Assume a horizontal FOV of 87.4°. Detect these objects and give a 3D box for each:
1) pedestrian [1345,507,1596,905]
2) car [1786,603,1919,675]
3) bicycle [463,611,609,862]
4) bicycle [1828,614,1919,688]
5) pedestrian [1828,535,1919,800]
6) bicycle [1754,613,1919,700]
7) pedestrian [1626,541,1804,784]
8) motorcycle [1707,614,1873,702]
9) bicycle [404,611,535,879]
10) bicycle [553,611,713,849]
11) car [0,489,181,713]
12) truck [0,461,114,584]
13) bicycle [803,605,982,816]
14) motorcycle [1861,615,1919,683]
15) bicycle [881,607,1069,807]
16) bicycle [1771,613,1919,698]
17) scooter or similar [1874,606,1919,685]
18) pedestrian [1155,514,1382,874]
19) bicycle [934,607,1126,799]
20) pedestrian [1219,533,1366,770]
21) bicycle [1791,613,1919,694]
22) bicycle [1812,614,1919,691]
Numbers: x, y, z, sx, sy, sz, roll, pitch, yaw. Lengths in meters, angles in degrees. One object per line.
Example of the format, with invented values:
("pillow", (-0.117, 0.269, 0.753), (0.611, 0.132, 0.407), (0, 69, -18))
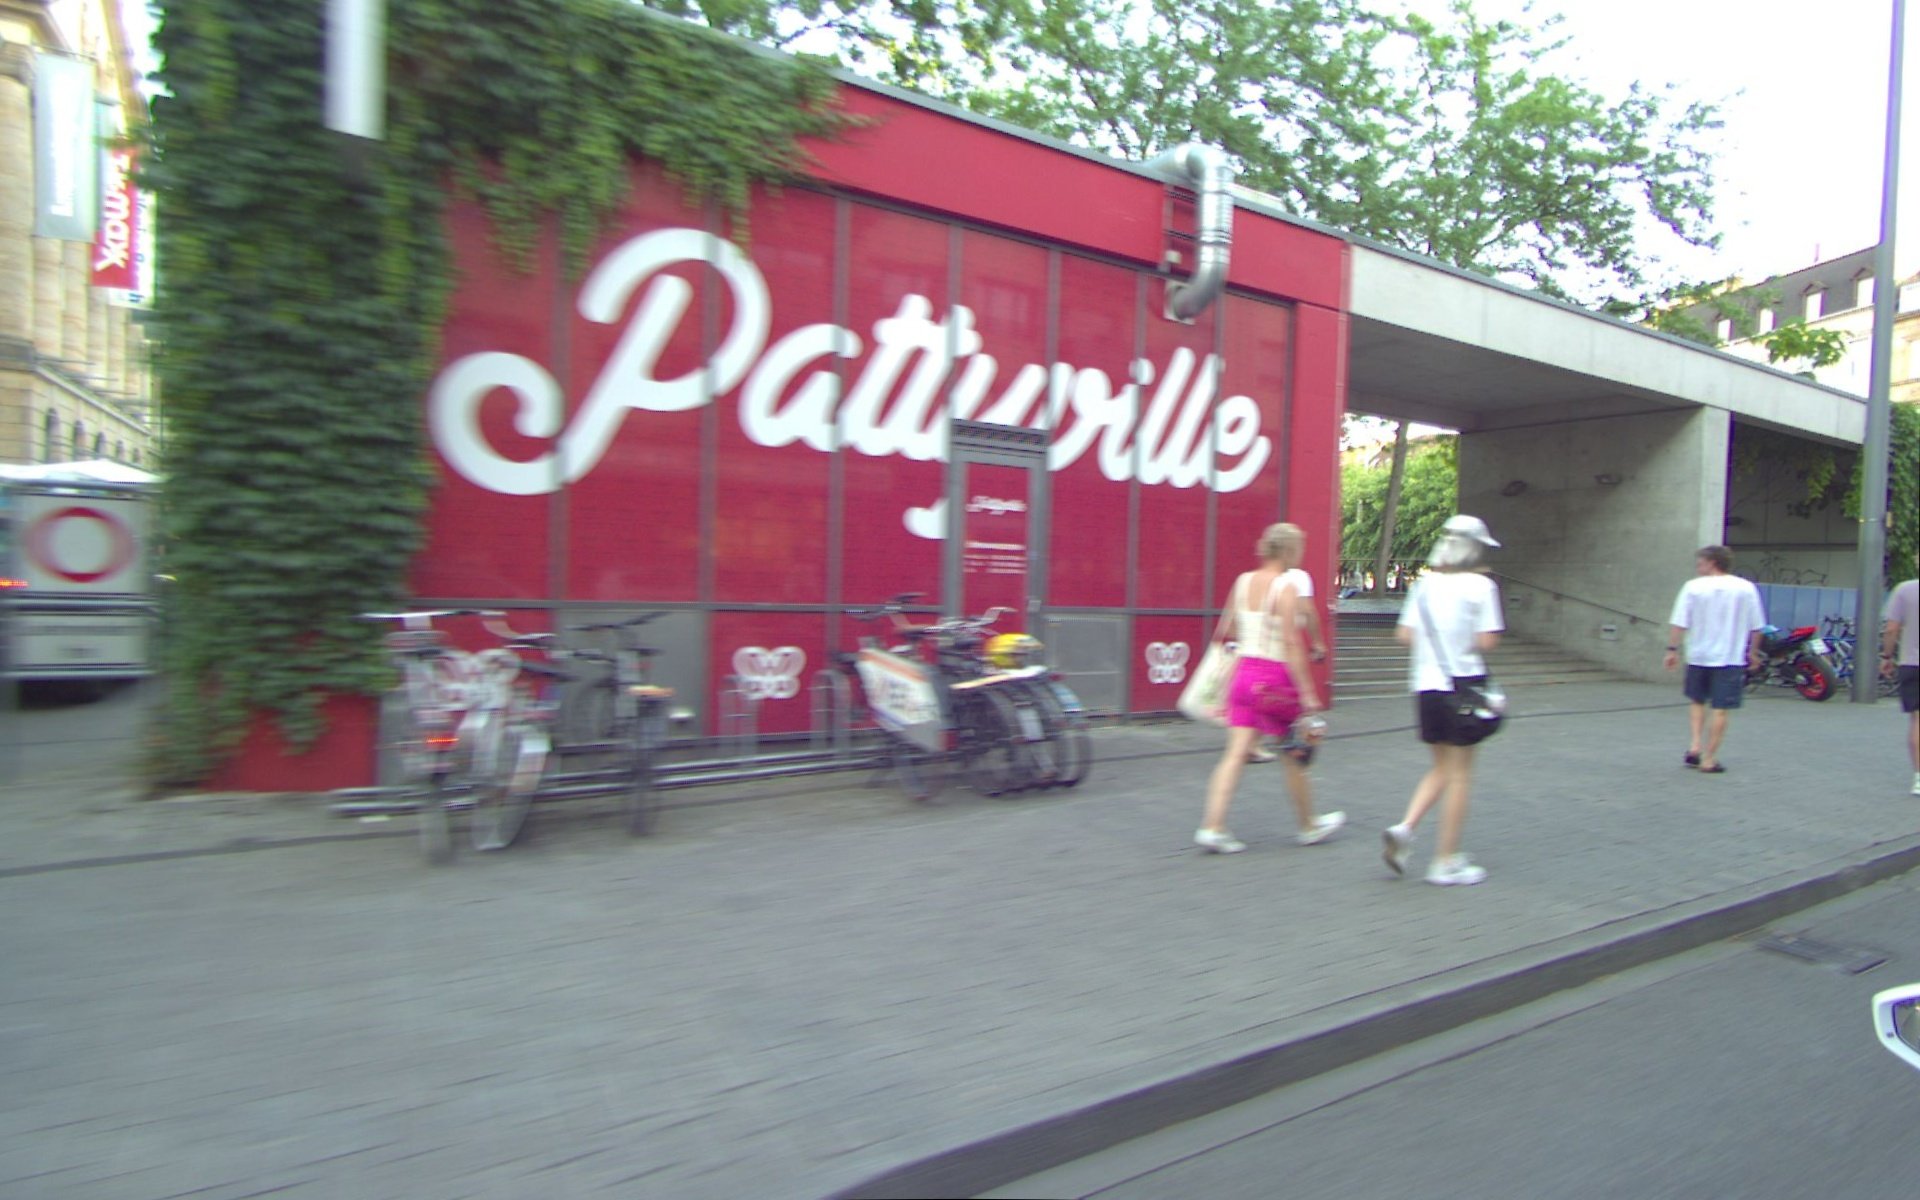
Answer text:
("pedestrian", (2.527, 0.468, 4.985), (0.974, 1.774, 0.645), (0, 2, -31))
("car", (21.345, 0.860, 22.613), (1.875, 1.521, 3.956), (0, 1, -38))
("bicycle", (-2.432, 0.659, 5.652), (0.494, 1.122, 1.784), (1, 2, -31))
("bicycle", (15.545, 0.844, 16.537), (0.494, 1.122, 1.785), (1, 3, -30))
("pedestrian", (7.365, 0.488, 7.662), (1.038, 1.919, 0.740), (0, 3, -30))
("bicycle", (13.120, 0.805, 15.067), (0.494, 1.122, 1.785), (1, 3, -31))
("pedestrian", (6.131, 0.467, 8.170), (0.997, 1.837, 0.737), (0, 4, -31))
("motorcycle", (11.852, 0.794, 14.431), (0.750, 1.078, 1.804), (2, 2, -5))
("bicycle", (-2.660, 0.659, 5.363), (0.494, 1.122, 1.785), (1, 2, -30))
("bicycle", (-1.982, 0.667, 5.931), (0.494, 1.122, 1.784), (1, 2, -31))
("car", (-9.166, -0.028, 9.584), (2.041, 1.783, 4.202), (0, 1, -28))
("truck", (-23.718, -2.003, 26.101), (1.977, 2.918, 3.967), (1, 4, -30))
("bicycle", (-0.505, 0.638, 6.615), (0.494, 1.122, 1.787), (1, 2, -27))
("motorcycle", (16.961, 0.879, 17.506), (1.718, 1.116, 0.566), (3, 3, 26))
("bicycle", (0.037, 0.651, 6.927), (0.494, 1.122, 1.787), (1, 2, -27))
("bicycle", (13.619, 0.812, 15.376), (0.494, 1.122, 1.787), (1, 3, -28))
("scooter or similar", (16.268, 0.774, 16.935), (1.192, 1.291, 0.419), (4, 3, 44))
("pedestrian", (1.662, 0.453, 5.462), (0.837, 1.773, 0.749), (0, 3, -31))
("bicycle", (0.430, 0.655, 7.174), (0.494, 1.122, 1.787), (1, 2, -27))
("pedestrian", (2.658, 0.384, 8.055), (0.839, 1.778, 0.713), (1, 1, -32))
("bicycle", (14.262, 0.825, 15.744), (0.495, 1.122, 1.782), (0, 3, -35))
("bicycle", (14.875, 0.834, 16.072), (0.495, 1.122, 1.783), (1, 3, -33))
